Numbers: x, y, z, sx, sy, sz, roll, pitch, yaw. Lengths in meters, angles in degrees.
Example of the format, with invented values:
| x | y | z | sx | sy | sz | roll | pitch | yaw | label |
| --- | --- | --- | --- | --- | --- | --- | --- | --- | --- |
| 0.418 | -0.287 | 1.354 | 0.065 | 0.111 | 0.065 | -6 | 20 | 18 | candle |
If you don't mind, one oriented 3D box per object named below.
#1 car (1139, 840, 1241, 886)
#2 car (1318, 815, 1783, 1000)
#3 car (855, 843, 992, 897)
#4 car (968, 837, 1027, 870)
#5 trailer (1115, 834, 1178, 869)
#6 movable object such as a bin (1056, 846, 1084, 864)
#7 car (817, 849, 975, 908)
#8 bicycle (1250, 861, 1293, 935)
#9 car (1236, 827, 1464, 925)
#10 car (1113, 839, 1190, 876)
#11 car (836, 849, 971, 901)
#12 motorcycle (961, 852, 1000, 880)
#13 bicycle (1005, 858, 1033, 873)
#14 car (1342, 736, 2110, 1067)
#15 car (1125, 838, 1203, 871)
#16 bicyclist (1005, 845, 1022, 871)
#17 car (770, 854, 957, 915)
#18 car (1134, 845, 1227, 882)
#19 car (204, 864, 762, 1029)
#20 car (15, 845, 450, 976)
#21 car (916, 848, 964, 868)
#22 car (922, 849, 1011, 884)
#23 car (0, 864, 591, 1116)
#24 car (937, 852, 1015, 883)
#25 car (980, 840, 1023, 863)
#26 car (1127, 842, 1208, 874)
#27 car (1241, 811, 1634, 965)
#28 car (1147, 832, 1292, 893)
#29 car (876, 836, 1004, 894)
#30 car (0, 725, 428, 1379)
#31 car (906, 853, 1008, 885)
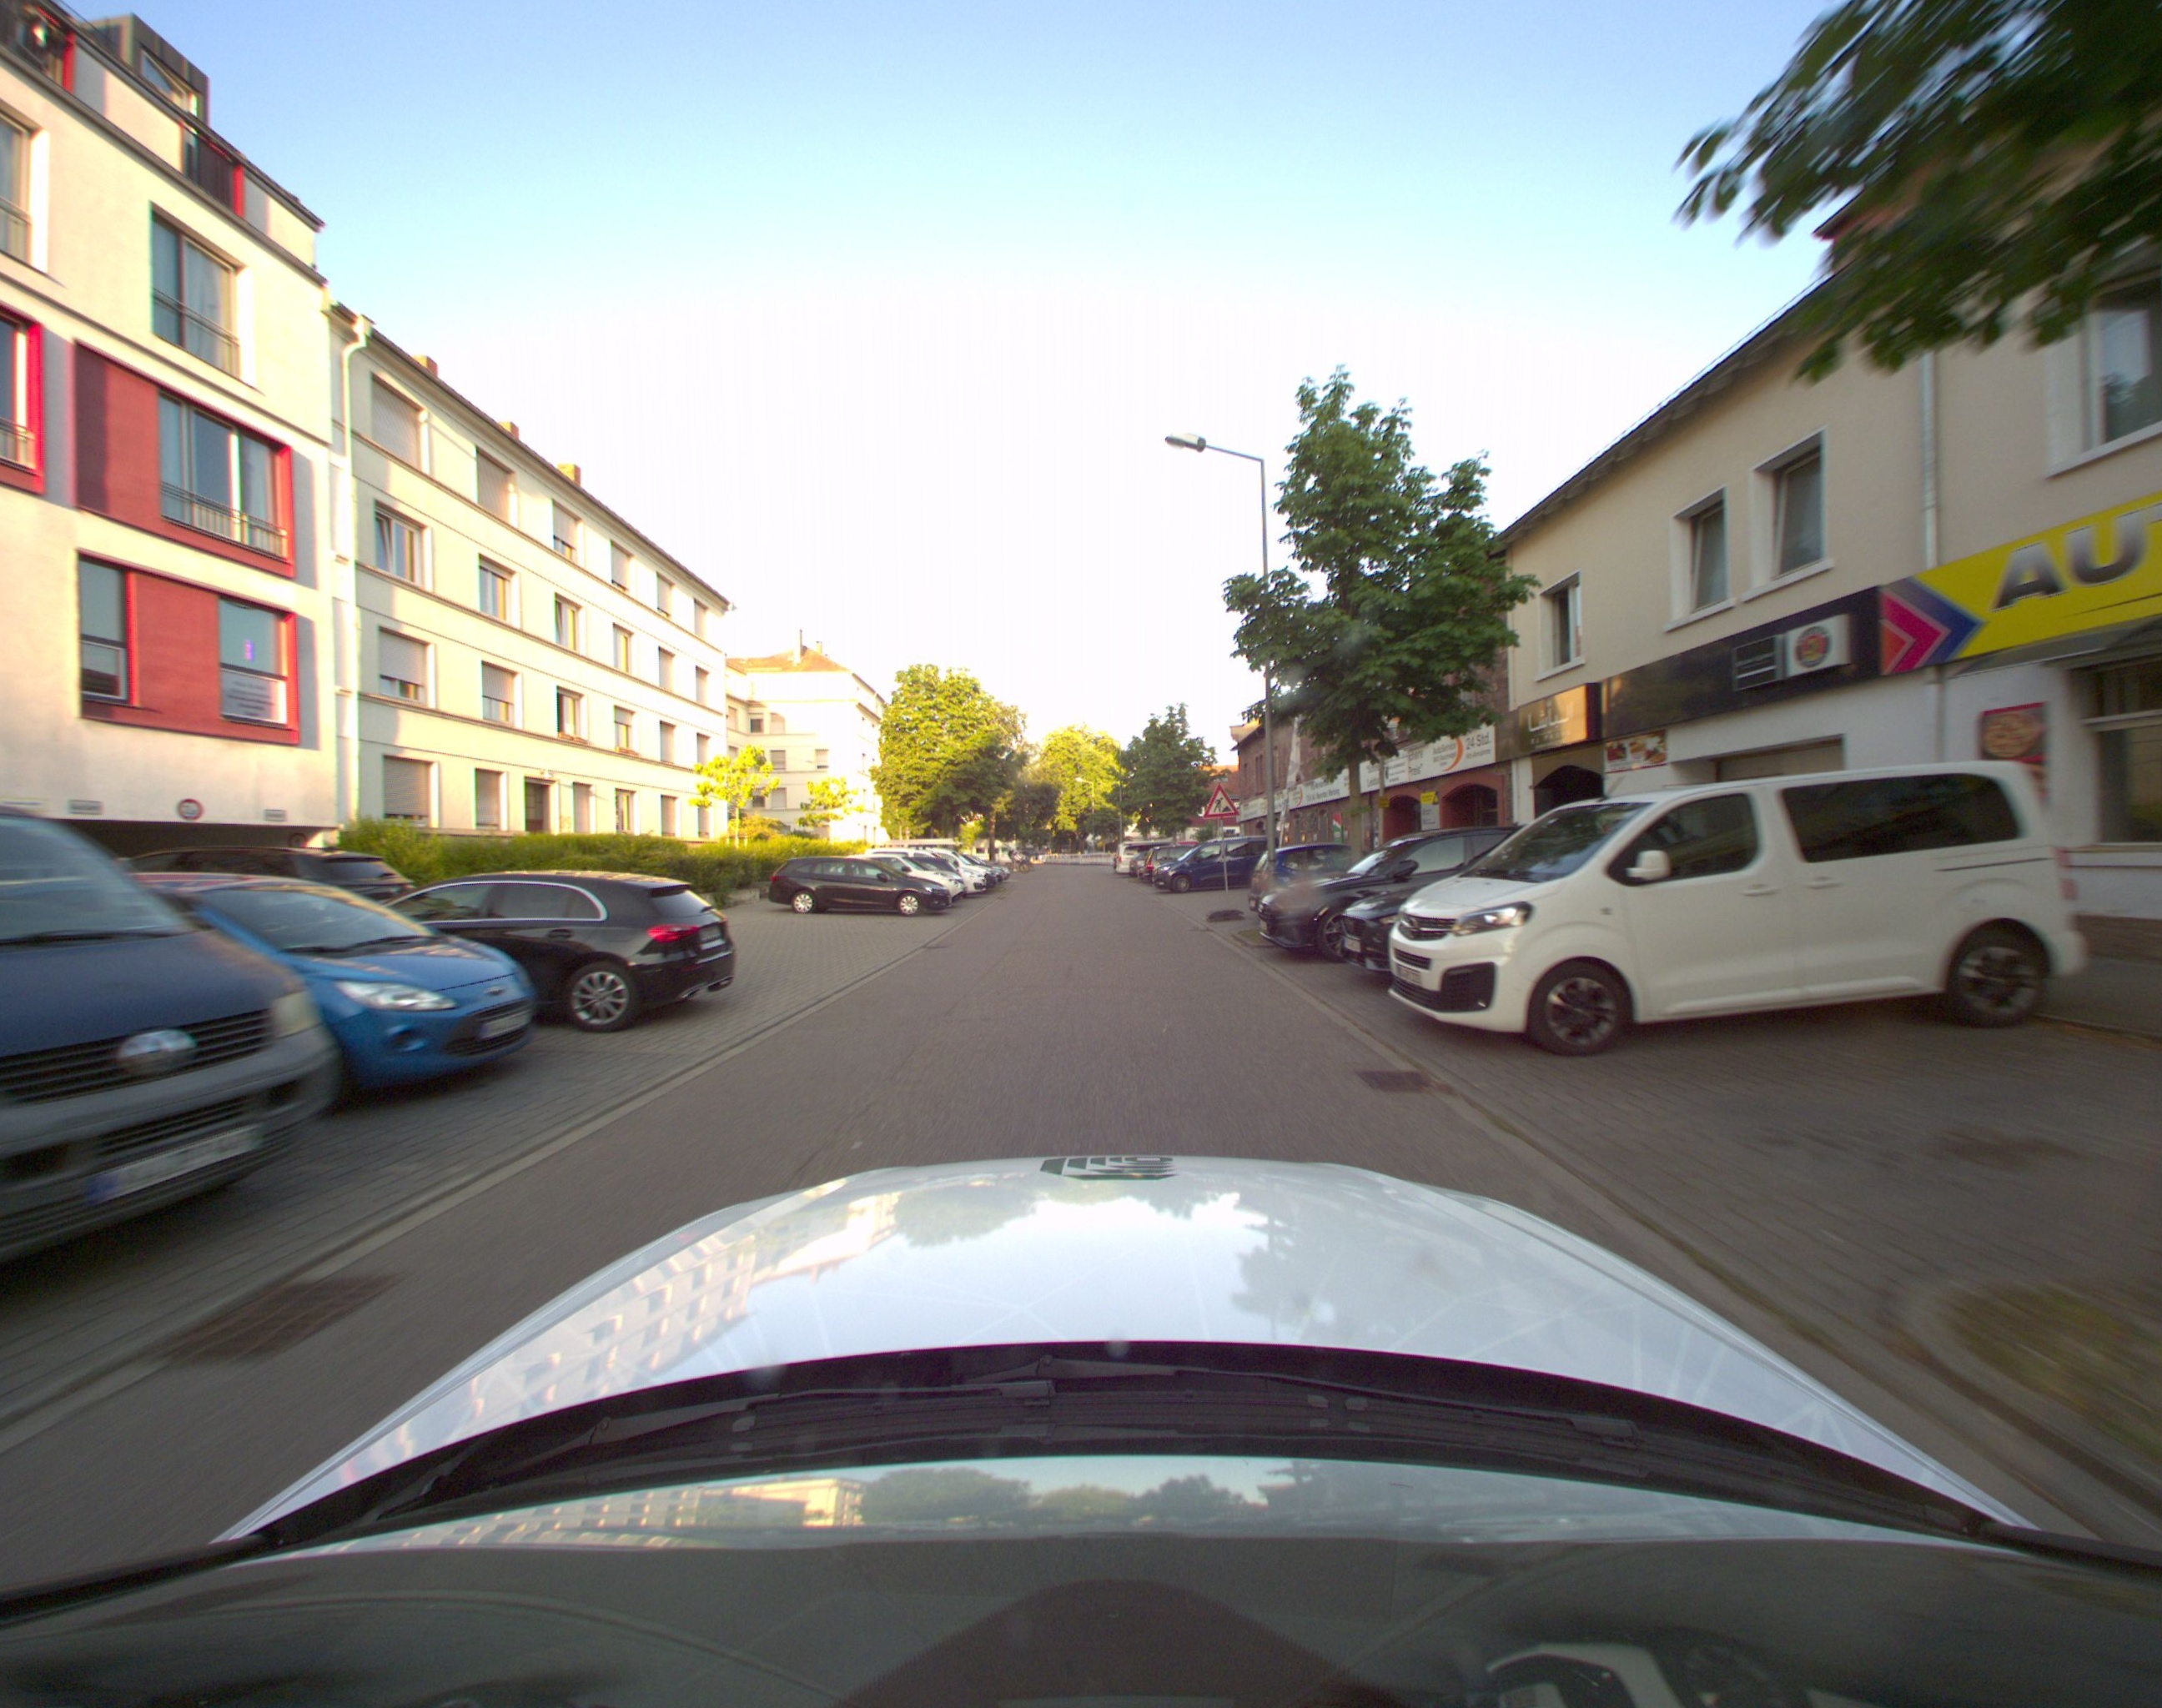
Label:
| x | y | z | sx | sy | sz | roll | pitch | yaw | label |
| --- | --- | --- | --- | --- | --- | --- | --- | --- | --- |
| 4.614 | 0.361 | 34.757 | 3.977 | 1.618 | 1.893 | -4 | 0 | -2 | car |
| 4.926 | 0.534 | 9.039 | 3.972 | 1.496 | 1.893 | -5 | 0 | 2 | car |
| -5.530 | 0.539 | 29.000 | 4.405 | 1.802 | 1.944 | 1 | 0 | 1 | car |
| -6.923 | -0.047 | 67.847 | 4.716 | 2.569 | 2.000 | -1 | 0 | 0 | car |
| 4.313 | -0.154 | 54.023 | 3.976 | 2.187 | 1.999 | -1 | 0 | -1 | trailer |
| -1.599 | 0.193 | 112.375 | 2.633 | 2.403 | 5.170 | -1 | 0 | -15 | movable object such as a bin |
| -5.387 | 0.696 | 24.121 | 4.230 | 1.620 | 1.813 | 0 | 1 | 0 | car |
| 3.321 | 0.731 | 14.274 | 0.307 | 1.192 | 1.762 | -1 | 0 | 0 | bicycle |
| 5.375 | 0.420 | 16.662 | 3.975 | 1.545 | 1.844 | -5 | 0 | 0 | car |
| 3.801 | 0.163 | 44.626 | 3.976 | 1.904 | 1.999 | -1 | 0 | -2 | car |
| -5.738 | 0.662 | 26.683 | 3.976 | 1.484 | 1.755 | 2 | 0 | -2 | car |
| -5.345 | 0.628 | 43.321 | 1.983 | 1.436 | 0.720 | -1 | 0 | -6 | motorcycle |
| -4.153 | 0.773 | 54.633 | 1.866 | 0.998 | 0.371 | -1 | 0 | -23 | bicycle |
| 4.816 | 0.338 | 6.716 | 4.570 | 1.861 | 2.013 | -6 | 0 | 1 | car |
| 4.795 | 0.050 | 47.188 | 4.289 | 1.799 | 1.903 | -1 | 0 | -2 | car |
| -4.517 | 0.251 | 54.446 | 0.841 | 1.726 | 0.795 | -1 | 0 | -24 | bicyclist |
| -5.622 | 0.767 | 21.458 | 4.397 | 1.452 | 1.826 | 1 | 0 | -2 | car |
| 4.504 | 0.406 | 37.195 | 3.939 | 1.565 | 1.818 | -1 | 0 | -5 | car |
| -5.601 | 0.845 | 8.105 | 4.130 | 1.416 | 1.736 | 1 | 0 | -4 | car |
| -11.956 | 0.731 | 11.781 | 3.981 | 1.634 | 1.996 | -1 | 0 | -6 | car |
| -14.113 | 0.401 | 81.658 | 4.671 | 1.873 | 1.994 | -1 | 0 | -9 | car |
| -5.466 | 0.597 | 39.251 | 3.973 | 1.583 | 1.729 | -1 | 0 | 1 | car |
| -5.942 | 0.840 | 5.766 | 3.874 | 1.493 | 1.652 | 0 | 0 | -3 | car |
| -5.343 | 0.687 | 41.708 | 3.700 | 1.506 | 1.690 | -1 | 0 | 1 | car |
| -8.498 | -0.259 | 87.007 | 4.500 | 2.431 | 1.994 | -1 | 0 | -8 | car |
| 4.404 | 0.191 | 41.822 | 3.976 | 1.510 | 1.775 | -1 | 0 | -2 | car |
| 4.864 | 0.441 | 11.681 | 4.677 | 1.631 | 2.001 | -5 | 0 | 1 | car |
| 4.894 | 0.281 | 29.317 | 4.773 | 1.753 | 2.016 | -5 | 1 | -2 | car |
| -5.428 | 0.381 | 31.741 | 4.494 | 2.070 | 2.002 | 2 | 1 | 2 | car |
| -5.794 | 0.623 | 3.202 | 4.837 | 2.054 | 2.001 | 0 | 0 | 1 | car |
| -5.574 | 0.663 | 36.959 | 4.311 | 1.405 | 1.852 | 1 | 0 | 1 | car |
